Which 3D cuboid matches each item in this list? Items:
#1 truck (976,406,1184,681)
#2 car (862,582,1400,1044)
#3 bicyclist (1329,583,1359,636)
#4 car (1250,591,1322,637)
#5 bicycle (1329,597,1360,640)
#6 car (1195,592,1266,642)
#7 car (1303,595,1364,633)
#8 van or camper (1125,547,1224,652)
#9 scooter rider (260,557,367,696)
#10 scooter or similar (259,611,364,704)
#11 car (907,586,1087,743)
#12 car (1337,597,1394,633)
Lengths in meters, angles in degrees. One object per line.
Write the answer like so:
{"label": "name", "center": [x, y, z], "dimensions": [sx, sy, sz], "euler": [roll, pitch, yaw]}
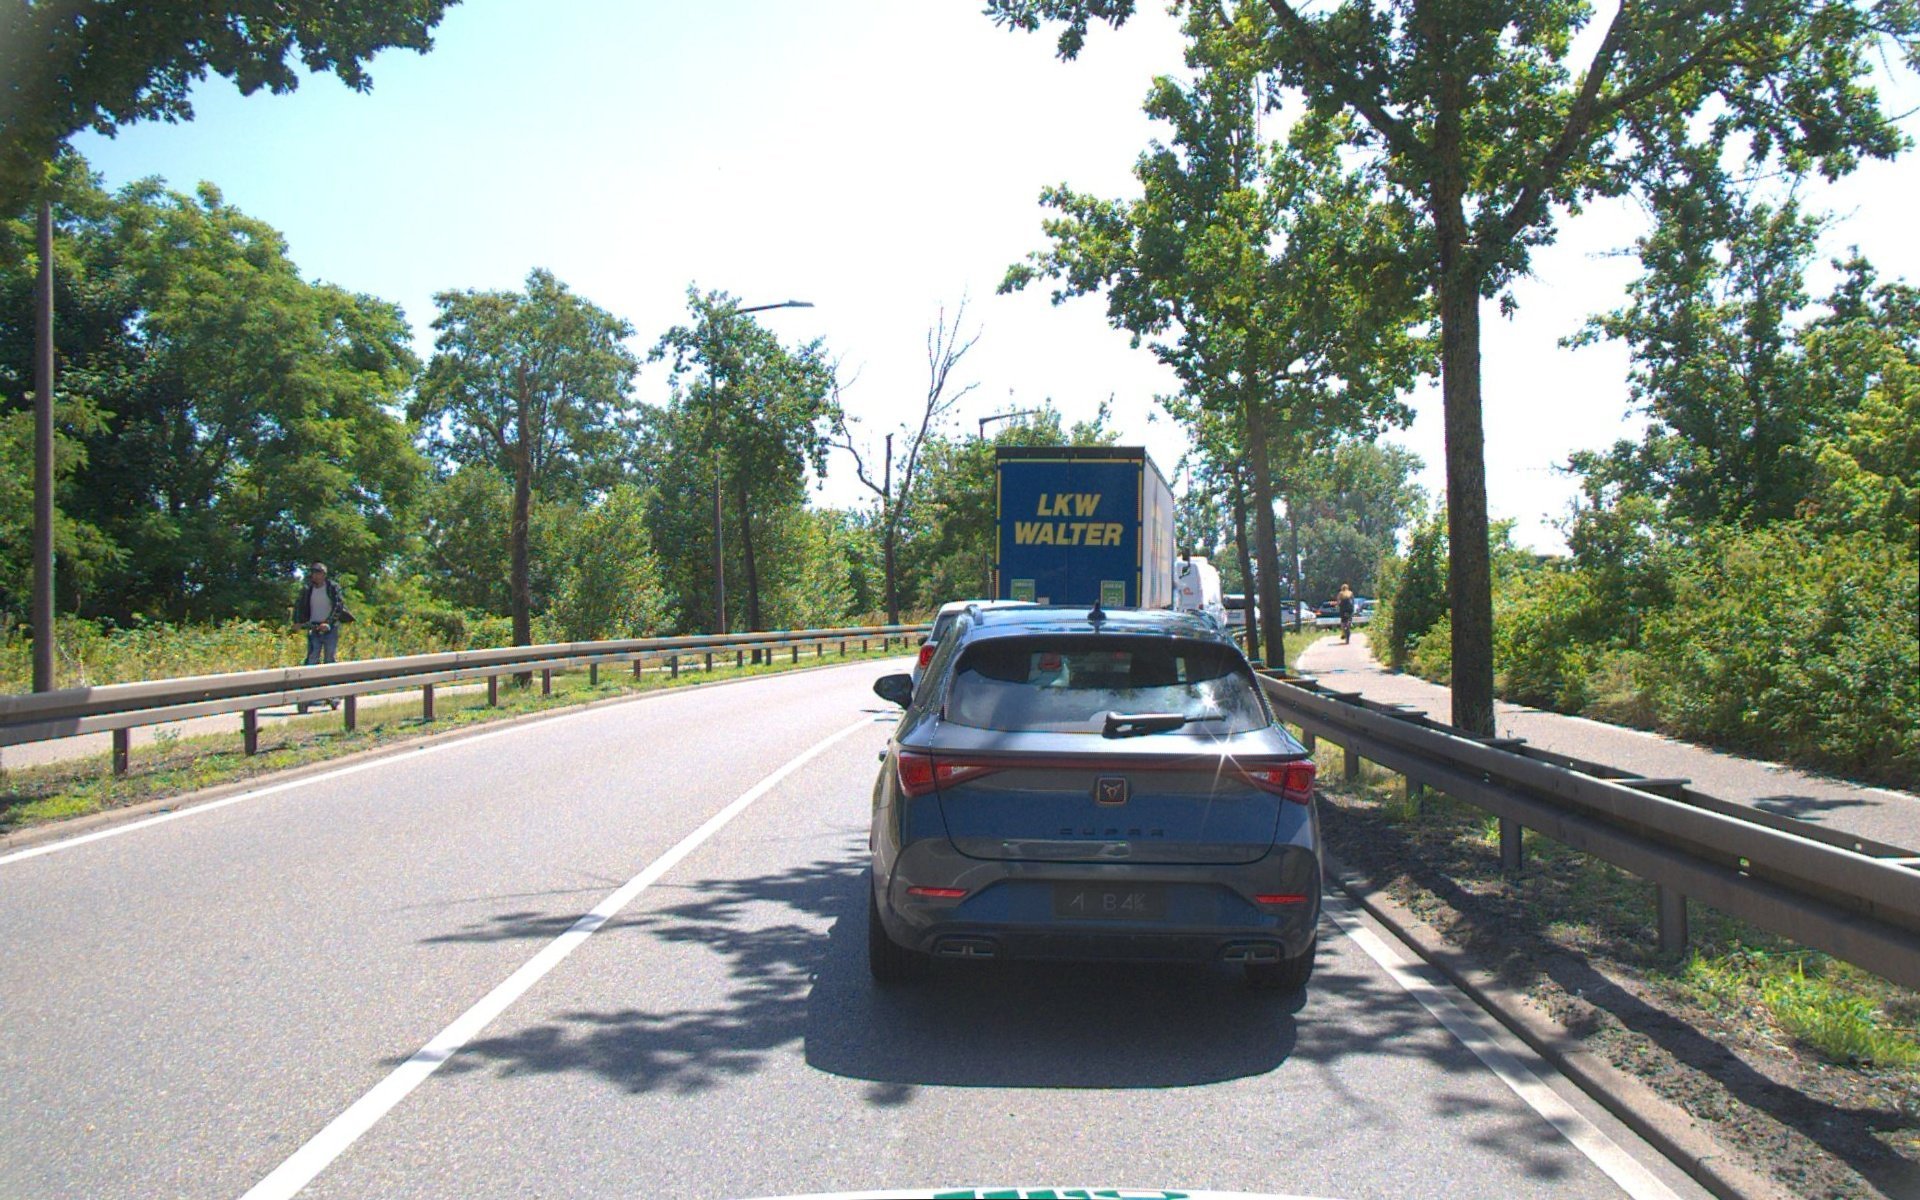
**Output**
{"label": "truck", "center": [3.100, -0.907, 35.712], "dimensions": [2.887, 4.526, 16.812], "euler": [1, 0, 9]}
{"label": "car", "center": [0.502, 0.689, 7.230], "dimensions": [1.709, 1.457, 3.879], "euler": [1, 0, -2]}
{"label": "bicyclist", "center": [11.565, 0.284, 49.840], "dimensions": [0.842, 1.550, 0.981], "euler": [1, 0, 12]}
{"label": "car", "center": [13.734, 0.597, 69.462], "dimensions": [1.953, 1.840, 4.843], "euler": [1, 0, 24]}
{"label": "bicycle", "center": [11.605, 0.541, 49.932], "dimensions": [0.842, 1.258, 2.311], "euler": [1, 0, 12]}
{"label": "car", "center": [10.082, 0.616, 61.379], "dimensions": [1.951, 1.742, 4.622], "euler": [1, 0, 17]}
{"label": "car", "center": [17.968, 0.669, 79.409], "dimensions": [1.953, 1.747, 4.866], "euler": [1, 0, 24]}
{"label": "van or camper", "center": [6.774, -0.013, 51.651], "dimensions": [2.414, 3.051, 6.091], "euler": [1, 0, 13]}
{"label": "scooter rider", "center": [-8.086, 0.326, 20.730], "dimensions": [0.760, 1.686, 1.121], "euler": [1, 0, 9]}
{"label": "scooter or similar", "center": [-8.096, 0.702, 20.695], "dimensions": [0.760, 1.110, 1.096], "euler": [1, 0, 8]}
{"label": "car", "center": [0.449, 0.648, 18.497], "dimensions": [1.771, 1.534, 4.001], "euler": [1, 0, 2]}
{"label": "car", "center": [21.095, 0.784, 86.002], "dimensions": [1.954, 1.799, 4.751], "euler": [1, 0, 25]}
